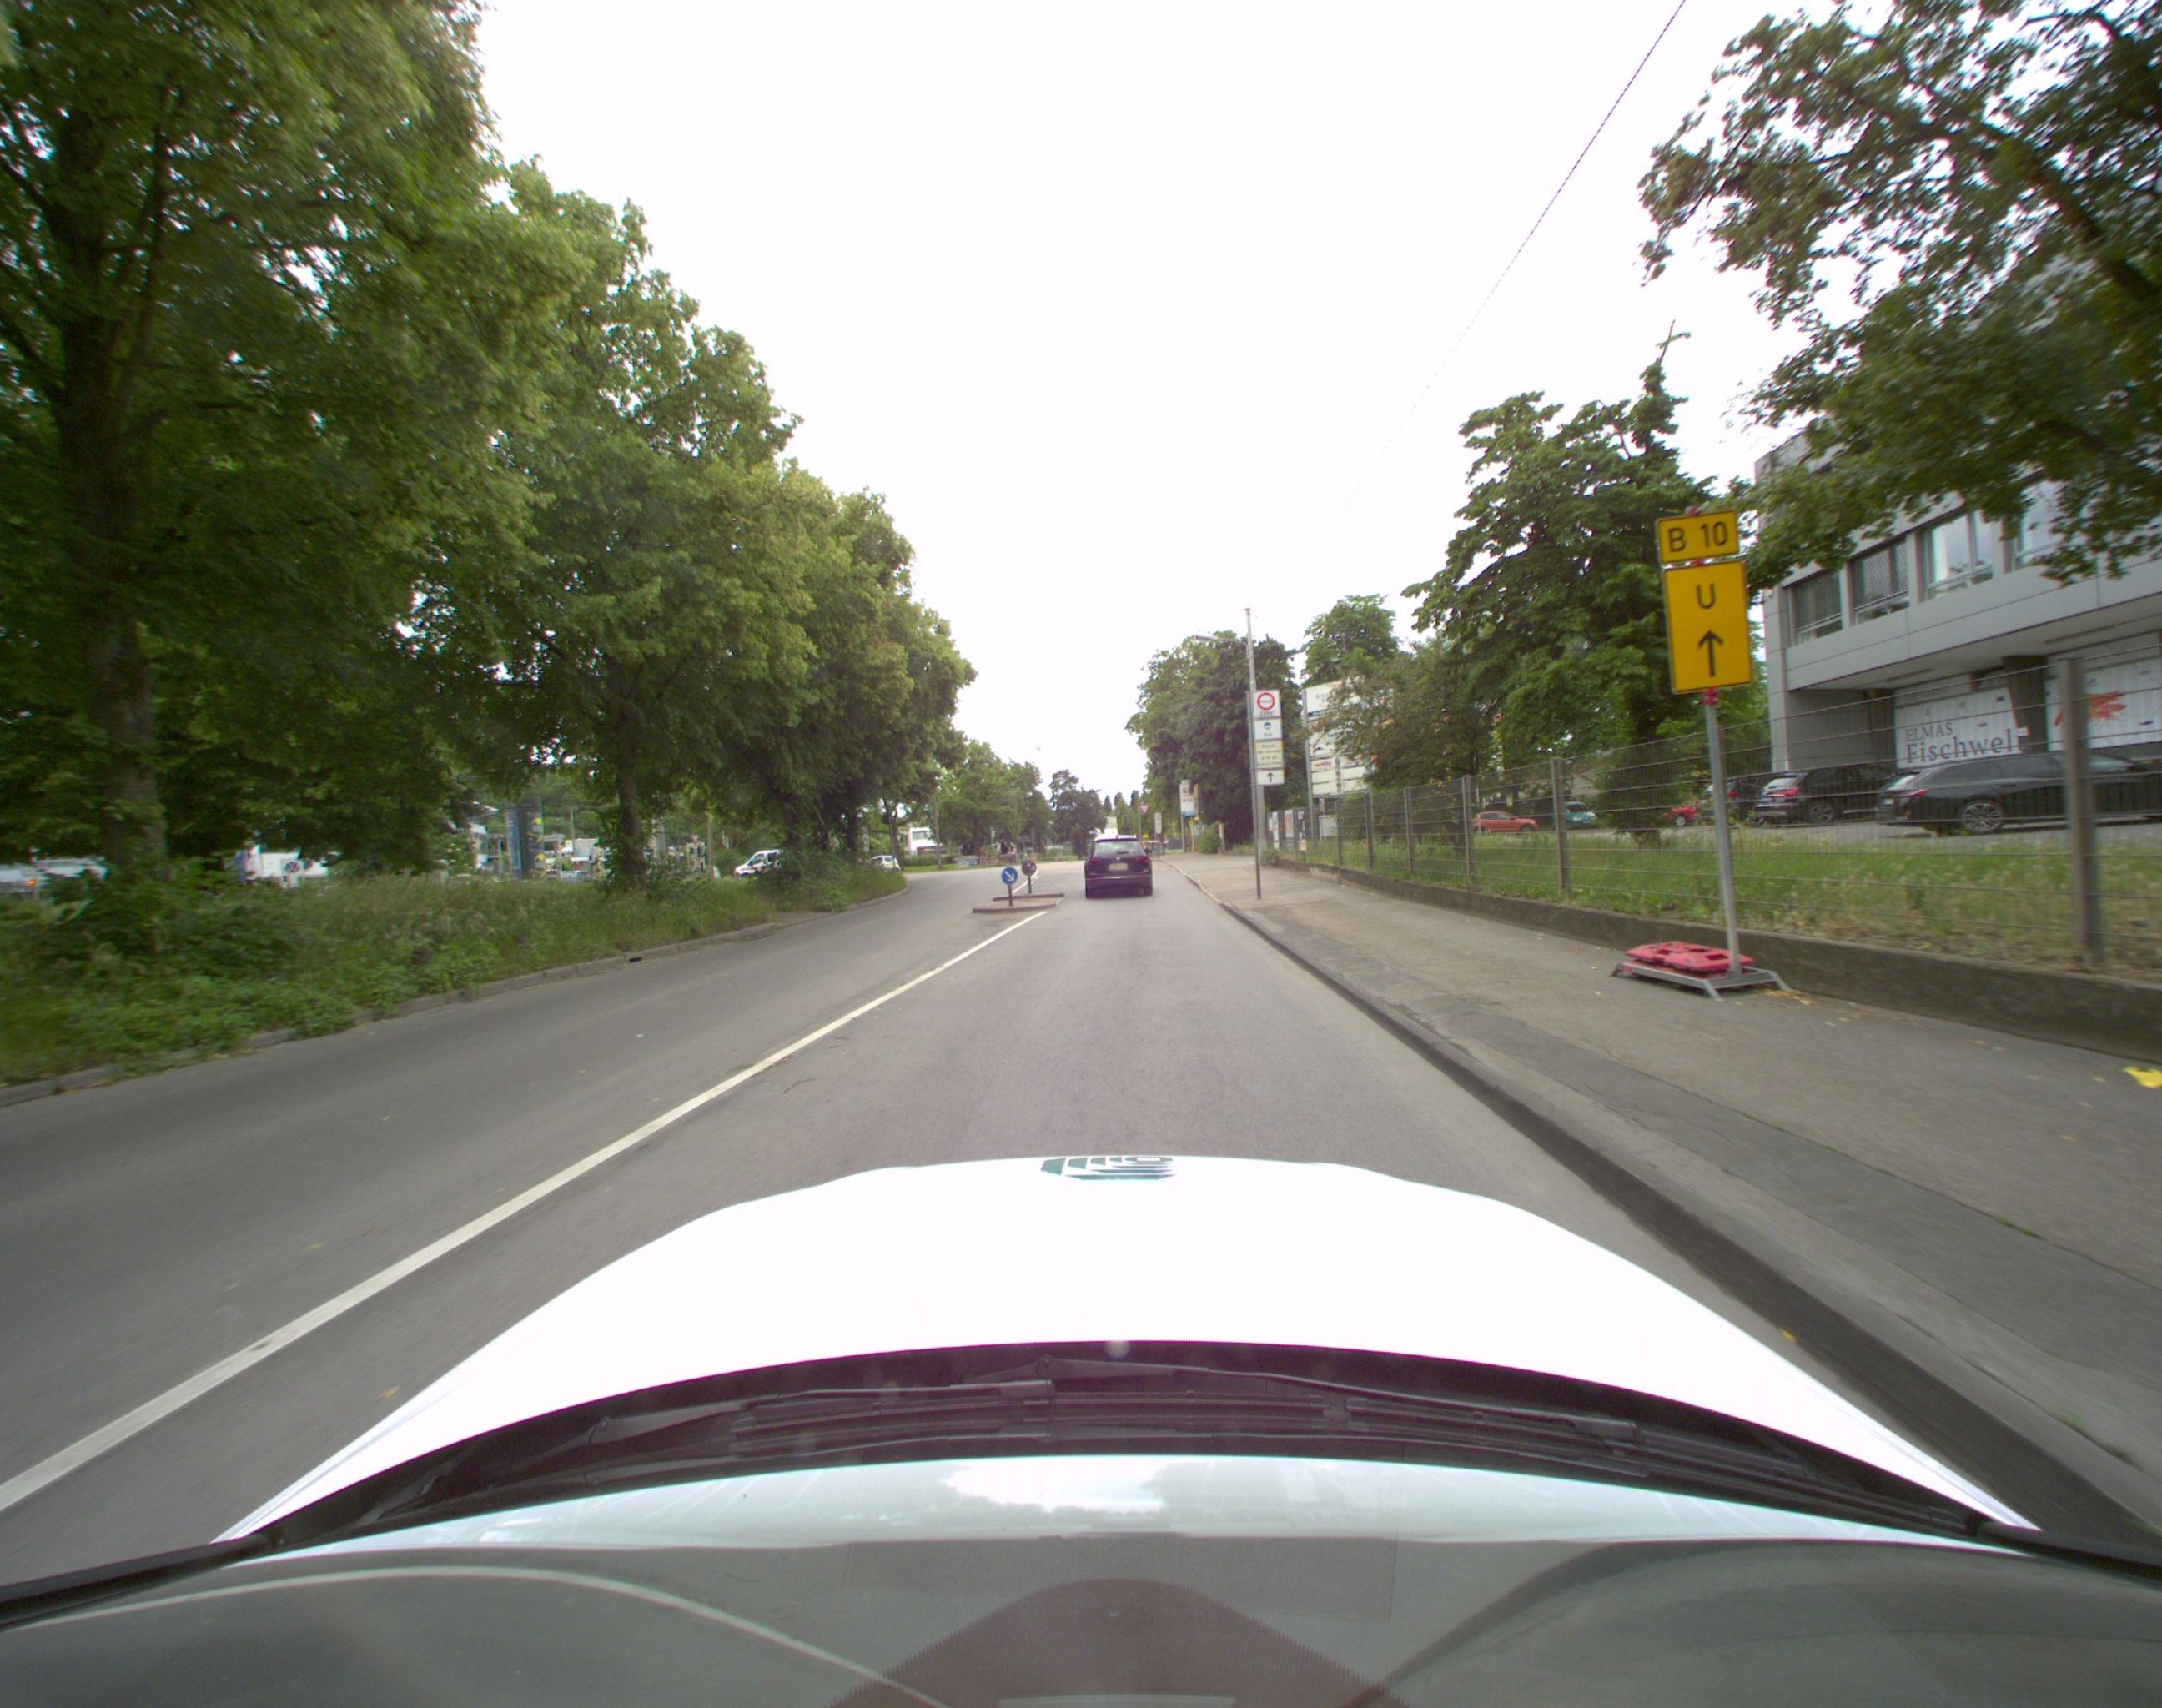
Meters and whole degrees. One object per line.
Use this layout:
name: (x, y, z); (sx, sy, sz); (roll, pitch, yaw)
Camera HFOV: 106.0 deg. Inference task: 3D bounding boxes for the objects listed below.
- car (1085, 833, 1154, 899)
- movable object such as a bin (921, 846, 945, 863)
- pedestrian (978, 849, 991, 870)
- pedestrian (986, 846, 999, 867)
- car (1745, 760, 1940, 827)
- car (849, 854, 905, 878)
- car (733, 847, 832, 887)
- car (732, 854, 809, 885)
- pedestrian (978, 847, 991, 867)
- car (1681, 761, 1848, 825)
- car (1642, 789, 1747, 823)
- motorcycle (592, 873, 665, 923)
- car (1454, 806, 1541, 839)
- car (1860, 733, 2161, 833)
car: (1.058, 0.257, 22.675); (1.732, 1.617, 3.644); (-2, 2, 2)
movable object such as a bin: (-19.163, 0.020, 105.601); (1.975, 2.013, 2.413); (-4, 1, 24)
pedestrian: (-8.294, 0.474, 69.877); (0.734, 1.741, 0.732); (-3, 1, 43)
pedestrian: (-7.634, 0.187, 70.326); (0.734, 1.741, 0.732); (-3, 1, 43)
car: (21.748, -1.698, 23.409); (3.680, 1.534, 1.834); (-4, 1, 8)
car: (-14.843, 0.846, 59.144); (3.624, 1.409, 1.727); (-5, 1, -26)
car: (-21.357, 0.874, 58.566); (6.059, 2.387, 2.391); (-4, 1, -4)
car: (-23.654, 1.135, 62.053); (4.951, 1.942, 2.053); (-4, 1, 7)
pedestrian: (-8.405, 0.260, 70.909); (0.734, 1.741, 0.732); (-3, 1, 43)
car: (22.089, -1.935, 26.448); (3.680, 1.673, 1.863); (-4, 1, 8)
car: (33.789, -2.627, 44.956); (4.205, 1.543, 1.834); (-4, 1, 8)
motorcycle: (-12.143, 1.157, 21.916); (0.563, 1.168, 2.039); (-4, 1, 6)
car: (23.415, -1.744, 45.915); (3.924, 1.534, 1.834); (-4, 1, 8)
car: (18.680, -1.365, 15.770); (4.798, 1.534, 2.036); (-4, 1, 30)
